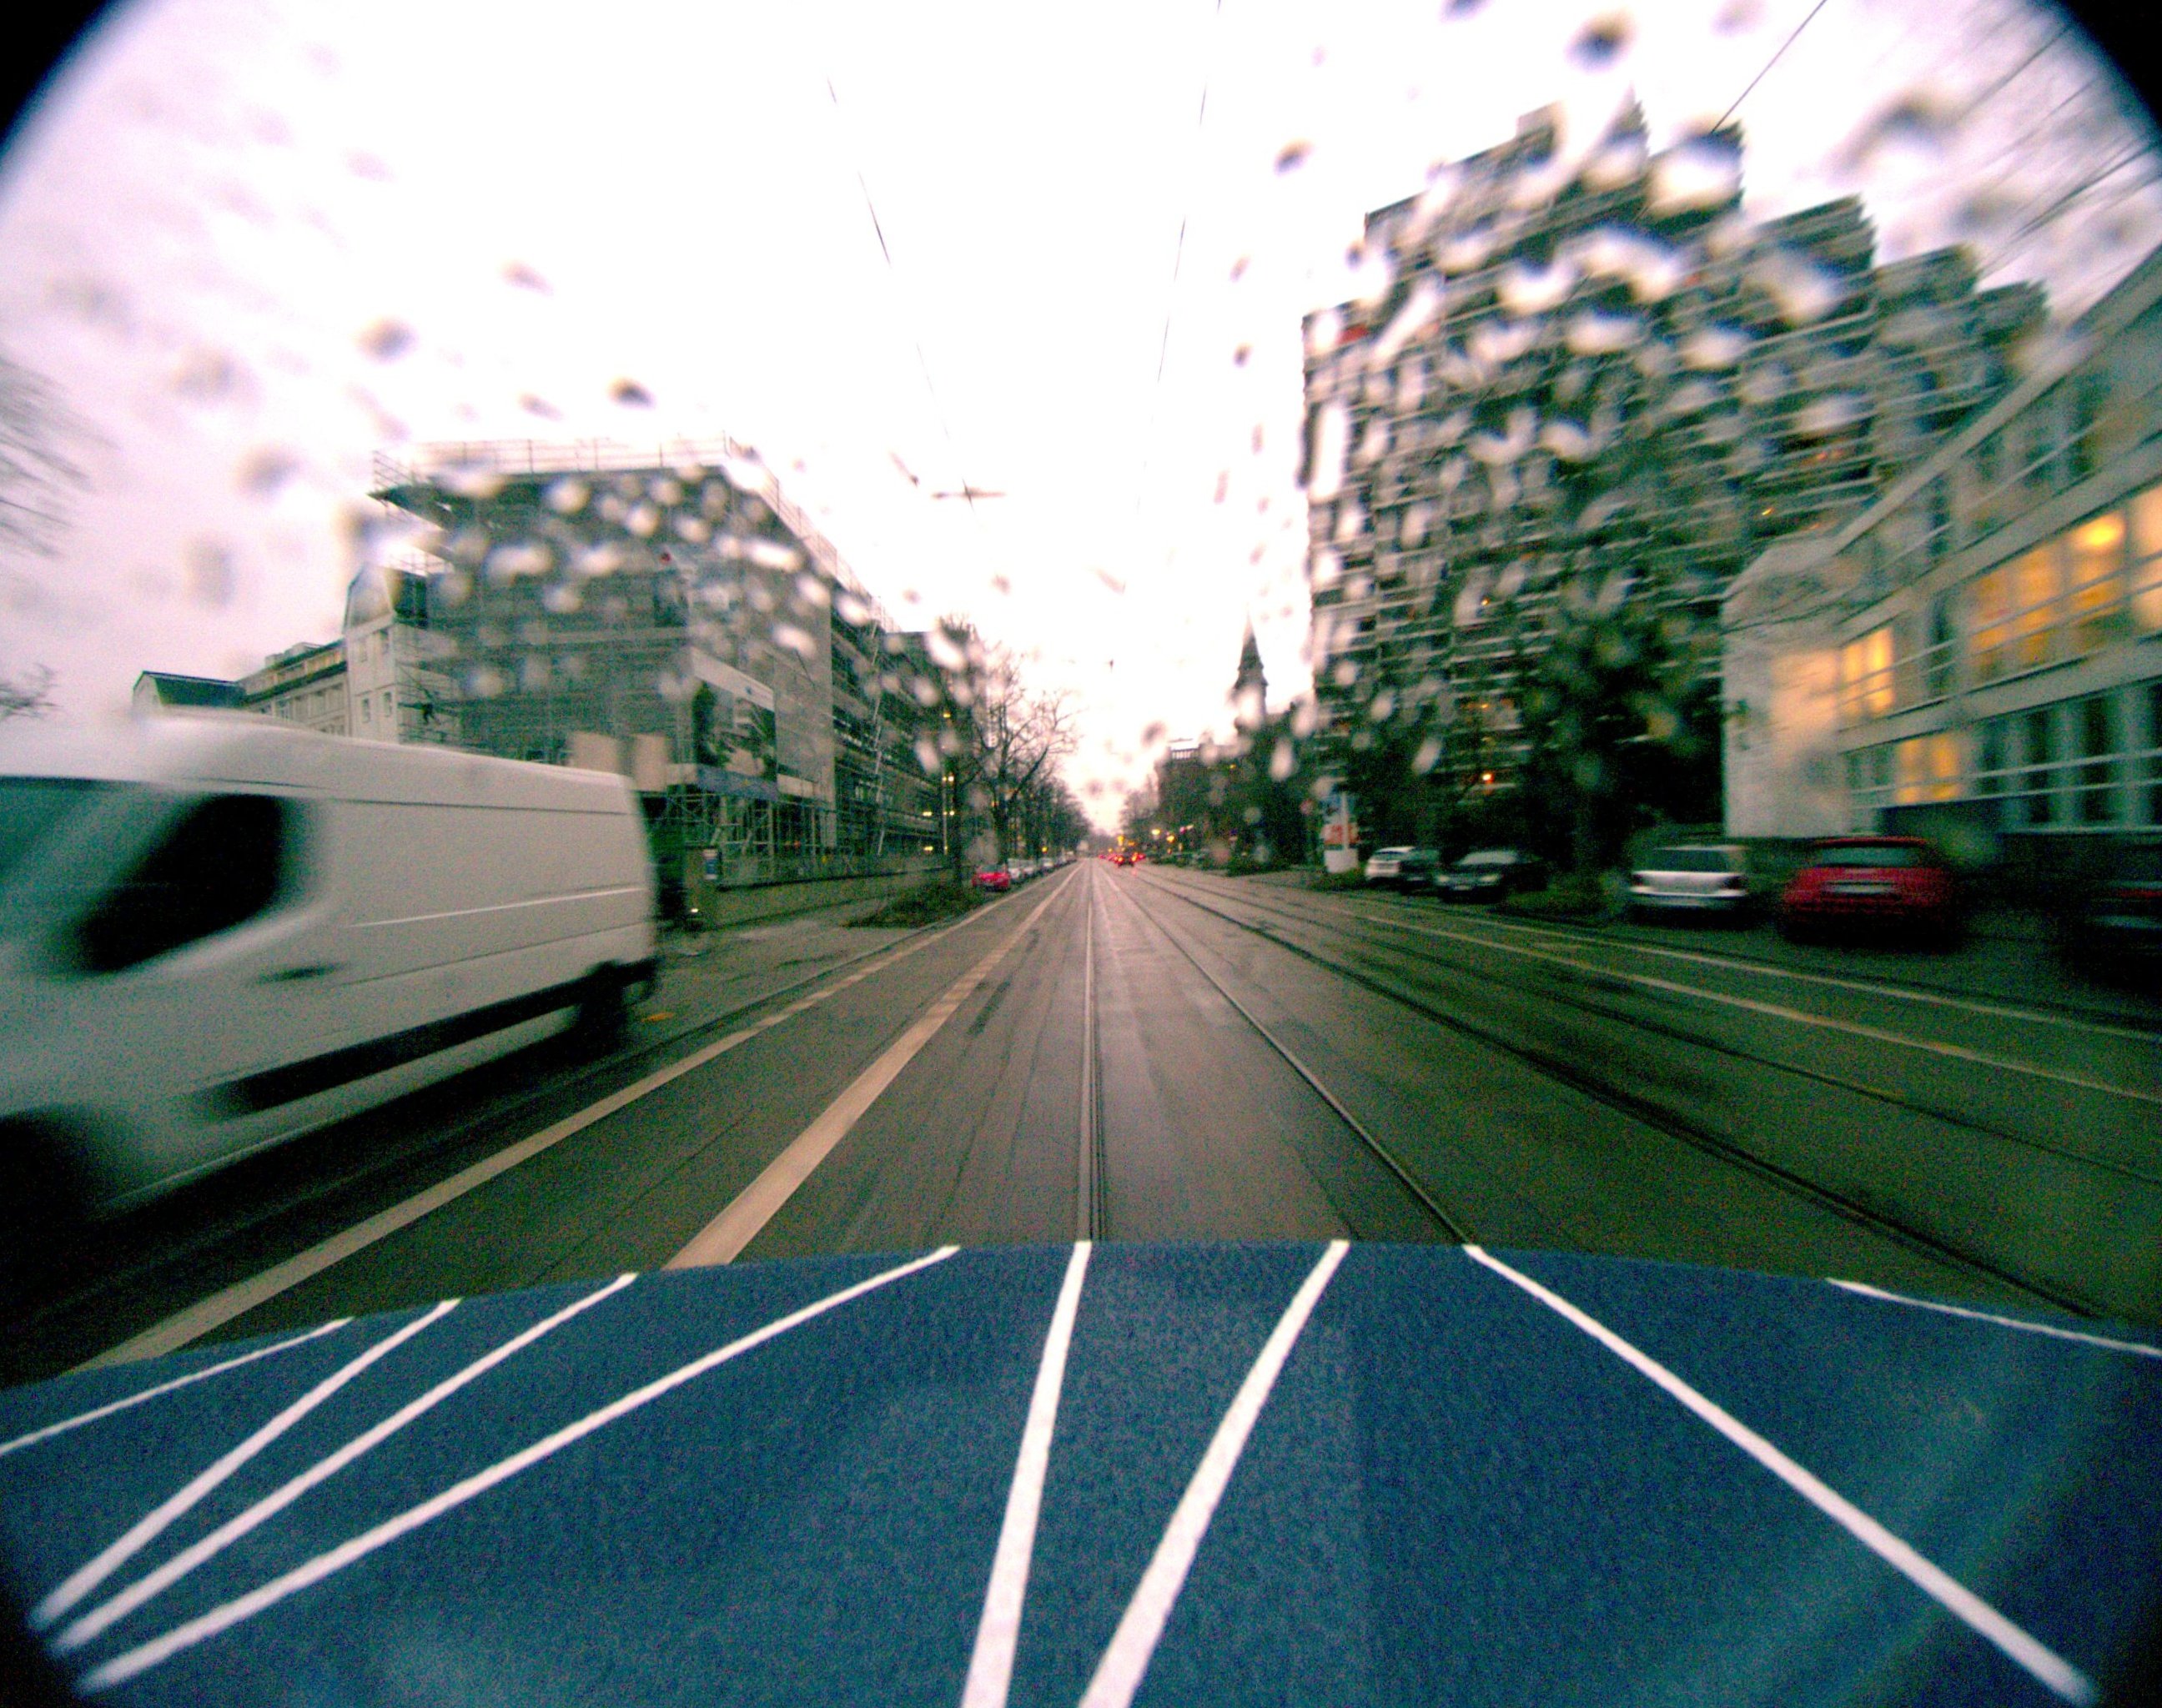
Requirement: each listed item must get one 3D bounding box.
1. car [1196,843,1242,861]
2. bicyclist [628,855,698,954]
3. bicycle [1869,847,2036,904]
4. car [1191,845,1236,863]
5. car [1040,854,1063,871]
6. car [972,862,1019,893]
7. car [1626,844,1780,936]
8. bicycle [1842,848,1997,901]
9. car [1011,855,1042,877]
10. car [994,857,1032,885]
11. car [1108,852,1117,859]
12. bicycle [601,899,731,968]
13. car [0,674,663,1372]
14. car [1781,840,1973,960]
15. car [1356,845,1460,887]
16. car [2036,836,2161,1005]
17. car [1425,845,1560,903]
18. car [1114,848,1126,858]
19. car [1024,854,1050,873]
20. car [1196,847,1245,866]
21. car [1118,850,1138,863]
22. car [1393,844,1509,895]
[{"bbox_3d":[12.365,-0.145,68.315,3.995,1.477,1.673,-1,0,7],"label":"car"},{"bbox_3d":[-7.268,0.862,13.235,0.770,1.679,0.707,-1,0,8],"label":"bicyclist"},{"bbox_3d":[17.905,0.446,15.683,2.200,1.114,0.643,-1,0,23],"label":"bicycle"},{"bbox_3d":[12.426,0.021,71.369,3.995,1.630,2.001,-1,0,7],"label":"car"},{"bbox_3d":[-2.988,0.853,77.614,1.866,1.584,4.001,-1,0,3],"label":"car"},{"bbox_3d":[-4.205,1.137,37.909,1.753,1.379,3.737,-1,0,3],"label":"car"},{"bbox_3d":[11.521,0.568,13.980,1.788,1.438,4.008,-1,0,45],"label":"car"},{"bbox_3d":[18.280,0.452,16.625,2.200,1.114,0.643,-1,0,23],"label":"bicycle"},{"bbox_3d":[-4.072,0.878,57.487,1.866,1.584,4.001,-1,0,3],"label":"car"},{"bbox_3d":[-4.138,1.014,46.752,1.753,1.575,3.737,-1,0,3],"label":"car"},{"bbox_3d":[6.532,0.327,158.799,1.765,1.402,4.000,-1,0,1],"label":"car"},{"bbox_3d":[-7.204,1.371,13.224,1.891,1.126,0.731,-1,0,9],"label":"bicycle"},{"bbox_3d":[-4.952,0.625,4.402,2.130,2.472,5.438,-1,0,-2],"label":"car"},{"bbox_3d":[11.690,0.561,11.126,3.458,1.484,1.725,-1,0,-41],"label":"car"},{"bbox_3d":[11.802,0.412,27.315,4.008,1.391,1.851,-1,0,-41],"label":"car"},{"bbox_3d":[11.181,0.551,7.618,3.861,1.484,1.691,-1,0,-43],"label":"car"},{"bbox_3d":[10.998,0.480,20.218,4.008,1.370,1.851,-1,0,-41],"label":"car"},{"bbox_3d":[6.018,-0.172,118.285,1.711,1.569,4.380,-1,0,1],"label":"car"},{"bbox_3d":[-3.817,0.804,66.637,1.866,1.584,4.001,-1,0,3],"label":"car"},{"bbox_3d":[11.862,0.228,64.831,3.995,1.477,1.673,-1,0,7],"label":"car"},{"bbox_3d":[5.510,0.312,89.358,1.752,1.535,4.294,-1,0,-3],"label":"car"},{"bbox_3d":[11.664,0.434,23.864,4.008,1.454,1.851,-1,0,-41],"label":"car"}]
